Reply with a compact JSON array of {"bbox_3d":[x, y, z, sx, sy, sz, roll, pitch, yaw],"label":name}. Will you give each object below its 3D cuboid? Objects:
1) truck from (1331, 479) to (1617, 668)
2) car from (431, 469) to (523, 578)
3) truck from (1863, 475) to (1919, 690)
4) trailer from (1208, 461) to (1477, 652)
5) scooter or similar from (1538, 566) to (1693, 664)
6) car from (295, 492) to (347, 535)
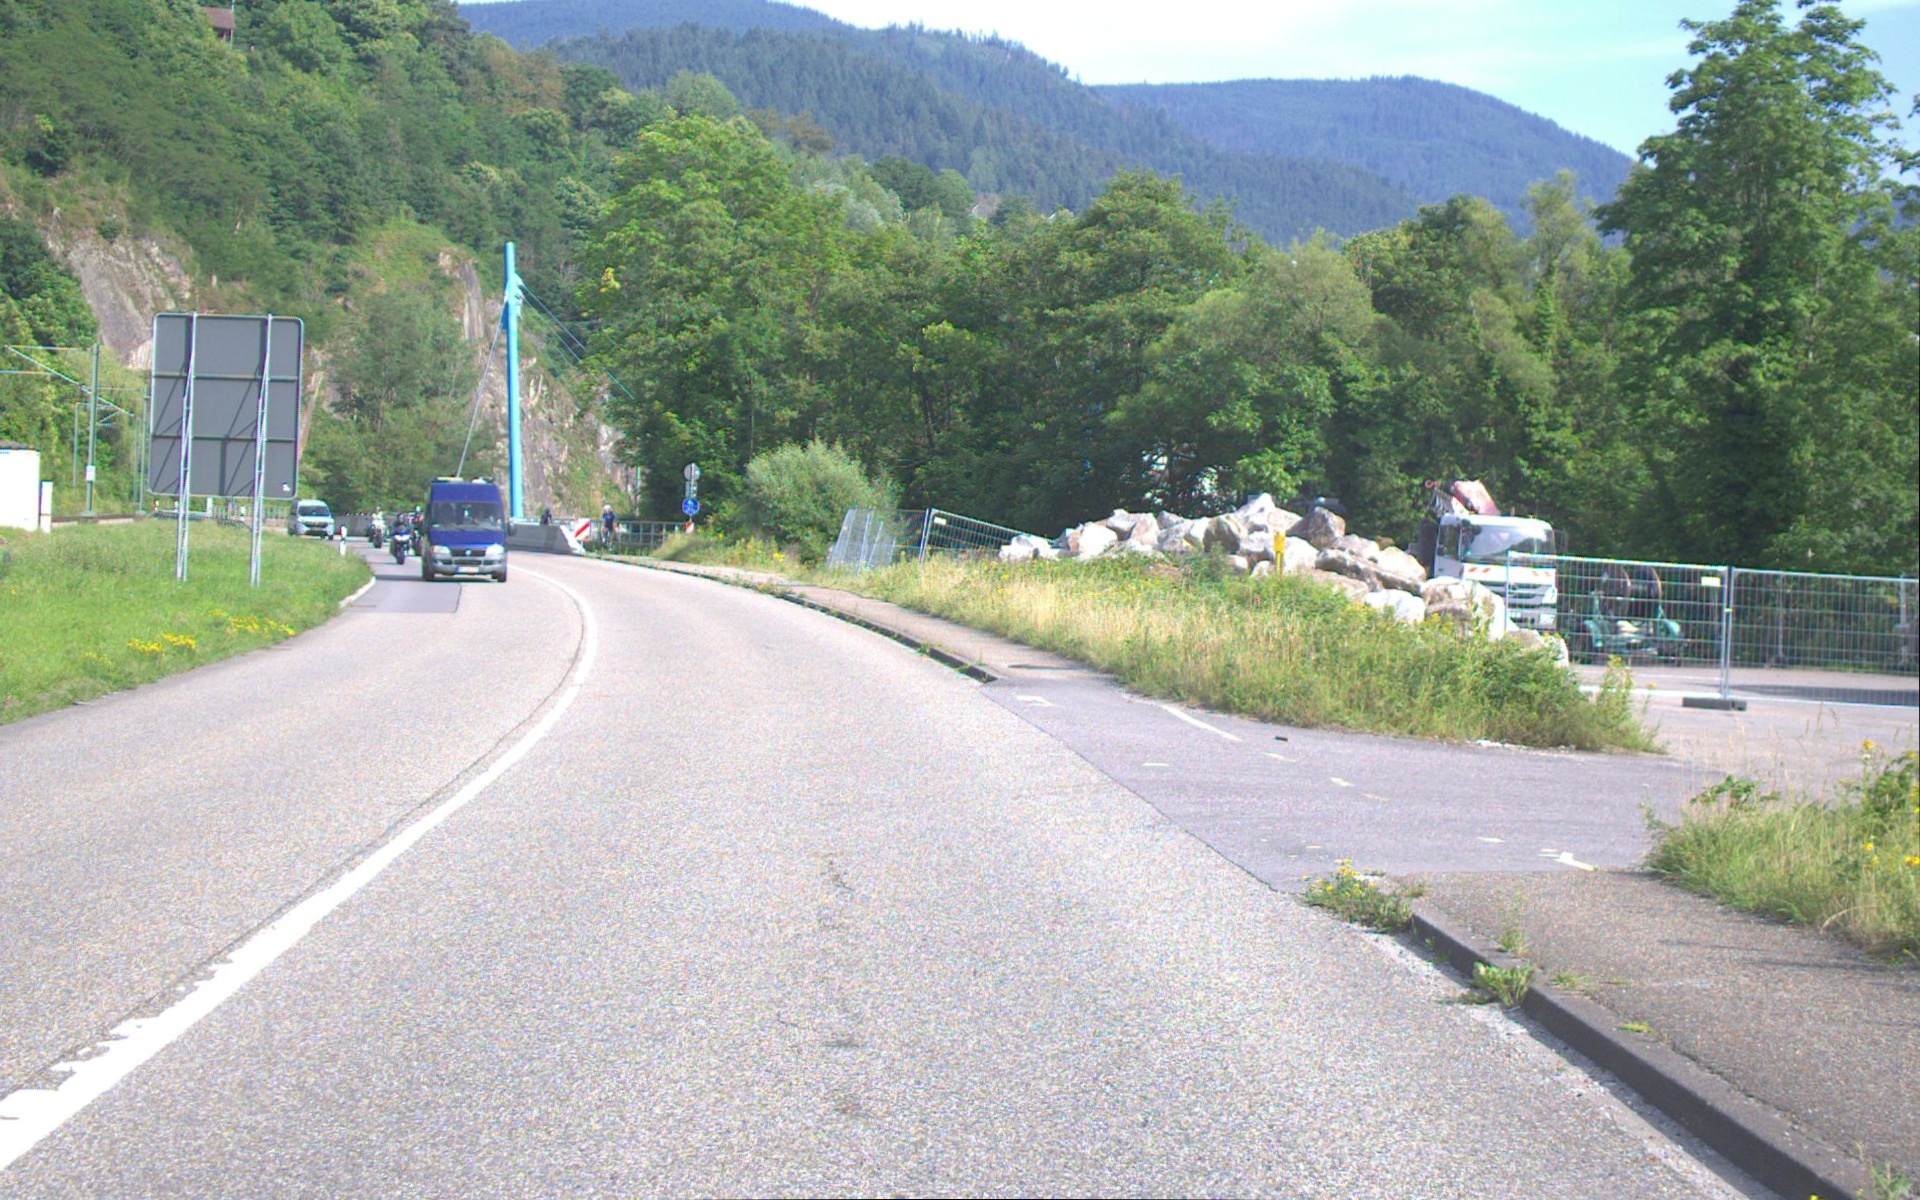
[{"bbox_3d":[11.124,-0.658,75.490,3.102,3.769,8.648,3,1,-13],"label":"truck"},{"bbox_3d":[-11.898,-1.901,84.967,2.126,2.606,5.481,0,1,-7],"label":"car"},{"bbox_3d":[18.530,-0.198,58.871,3.102,3.769,8.646,3,1,-4],"label":"truck"},{"bbox_3d":[9.229,-1.075,84.546,3.364,4.259,9.912,3,0,-13],"label":"trailer"},{"bbox_3d":[14.221,0.306,74.803,1.993,2.007,4.001,1,1,-10],"label":"scooter or similar"},{"bbox_3d":[-29.142,-3.966,156.729,1.869,1.775,4.601,1,2,-15],"label":"car"}]
